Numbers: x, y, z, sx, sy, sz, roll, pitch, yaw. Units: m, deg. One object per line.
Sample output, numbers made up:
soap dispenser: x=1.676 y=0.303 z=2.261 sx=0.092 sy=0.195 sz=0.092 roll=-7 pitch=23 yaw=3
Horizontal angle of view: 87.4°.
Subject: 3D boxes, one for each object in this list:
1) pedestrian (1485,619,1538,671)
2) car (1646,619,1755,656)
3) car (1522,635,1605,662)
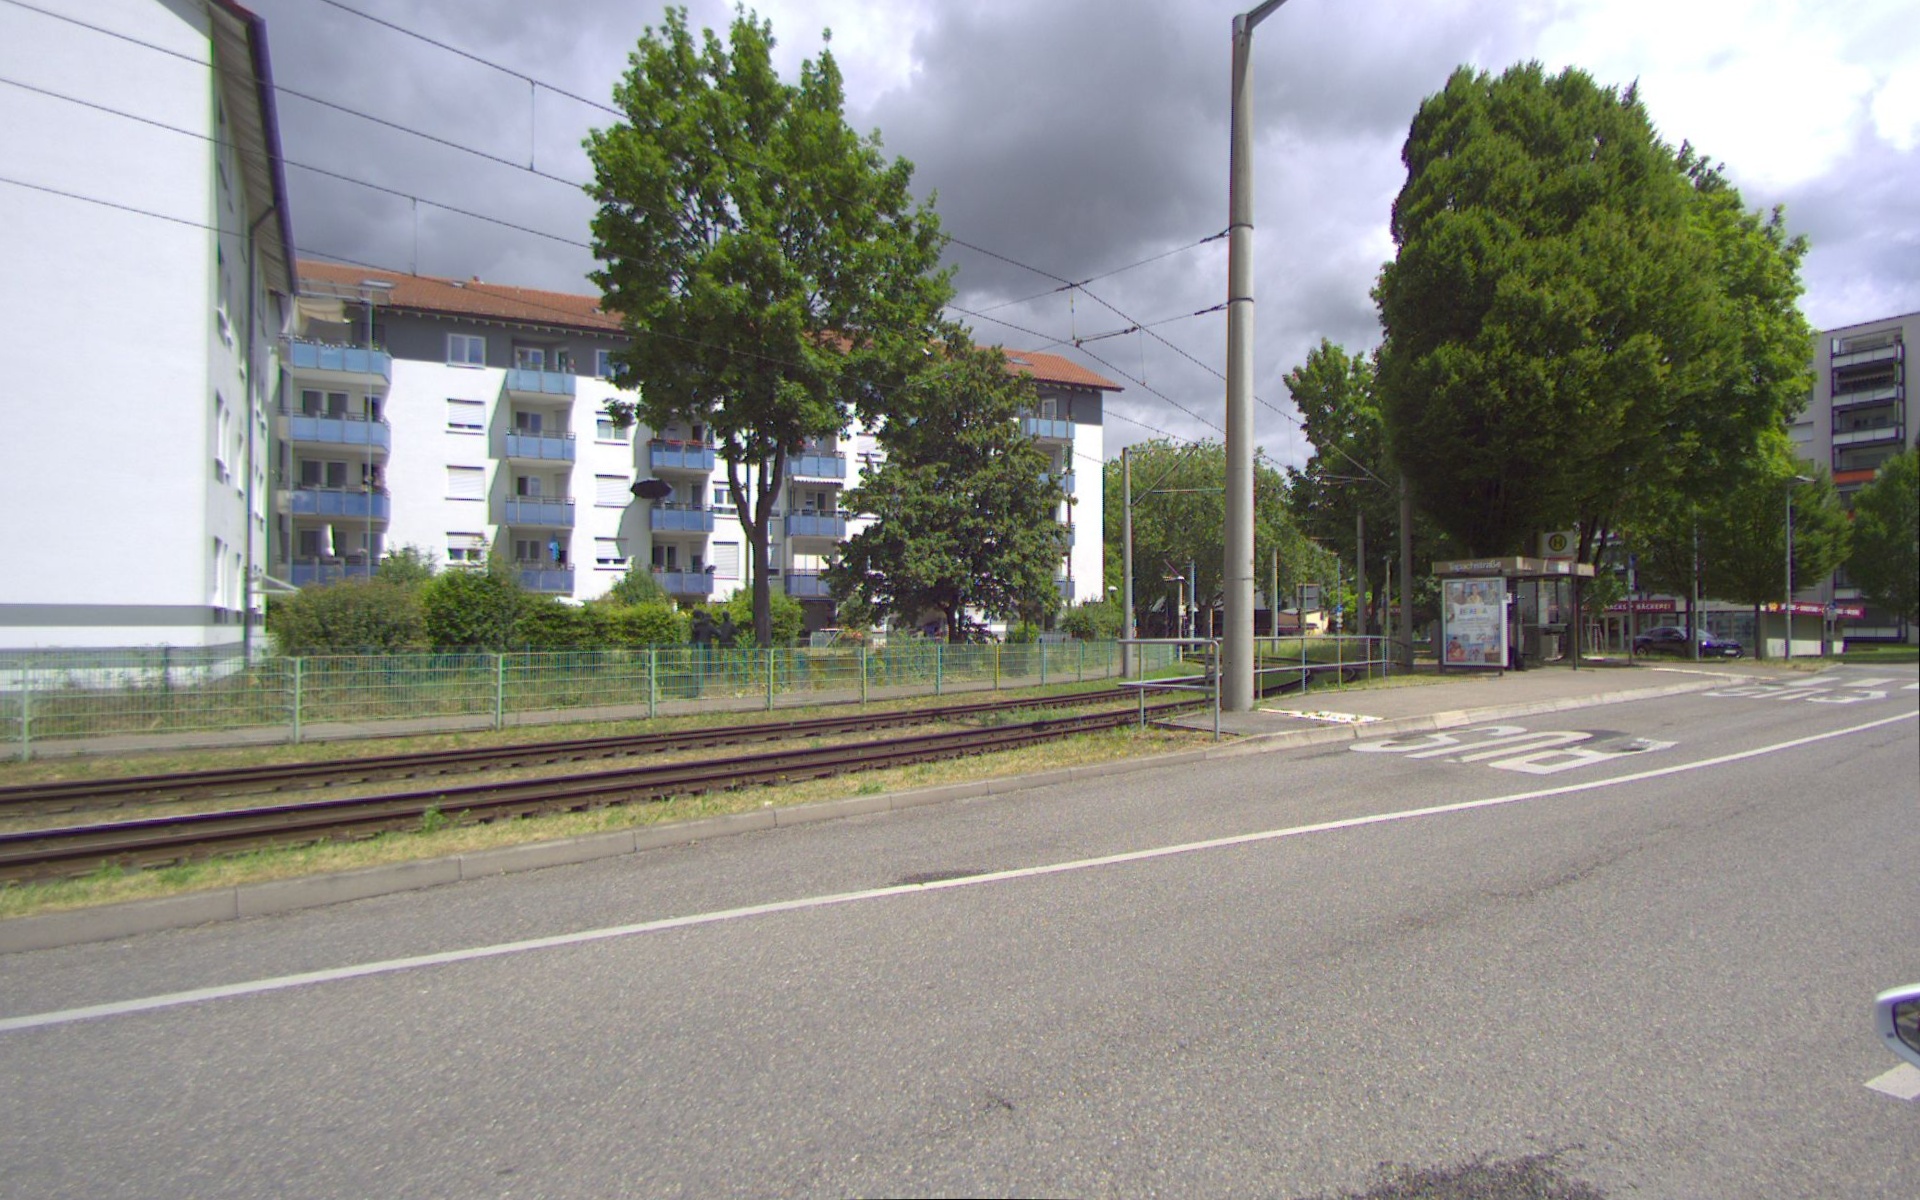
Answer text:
pedestrian: x=12.778 y=1.028 z=23.279 sx=0.903 sy=1.150 sz=0.792 roll=1 pitch=-1 yaw=-37
car: x=32.299 y=1.633 z=43.980 sx=1.959 sy=1.545 sz=4.528 roll=-1 pitch=-2 yaw=9
car: x=33.325 y=2.645 z=55.630 sx=1.787 sy=1.402 sz=4.619 roll=0 pitch=-2 yaw=1
